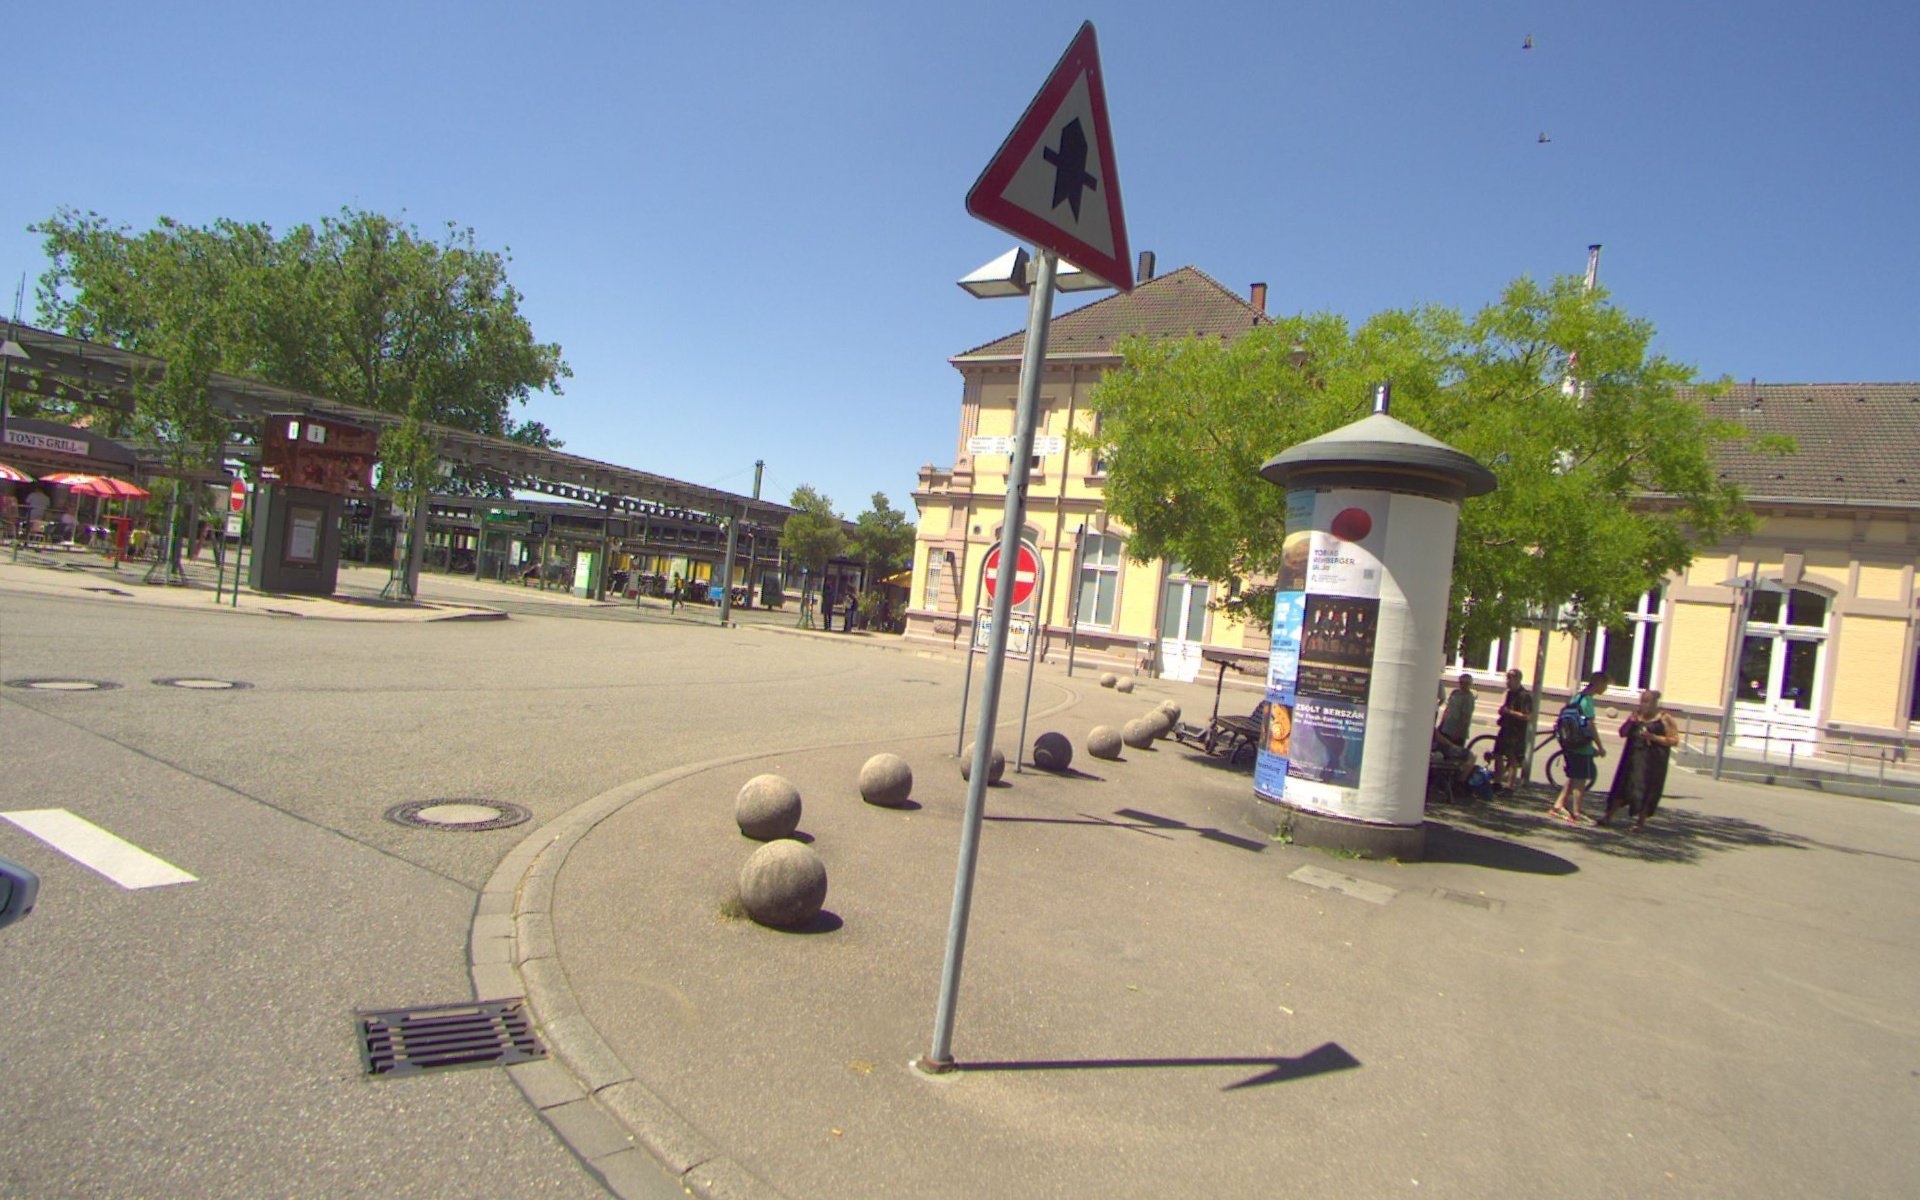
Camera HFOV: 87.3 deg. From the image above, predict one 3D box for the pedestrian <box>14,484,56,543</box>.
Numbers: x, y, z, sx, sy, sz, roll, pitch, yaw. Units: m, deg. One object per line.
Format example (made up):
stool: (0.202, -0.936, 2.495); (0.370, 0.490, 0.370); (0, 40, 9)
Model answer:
pedestrian: (-29.671, -2.765, 32.267); (0.695, 1.759, 0.687); (6, 0, 31)

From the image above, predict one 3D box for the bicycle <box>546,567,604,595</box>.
bicycle: (-19.531, -0.948, 51.086); (0.797, 1.015, 2.795); (6, -3, 28)

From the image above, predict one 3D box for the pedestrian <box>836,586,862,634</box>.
pedestrian: (-4.420, 0.395, 40.057); (0.626, 1.831, 0.590); (6, 1, -39)

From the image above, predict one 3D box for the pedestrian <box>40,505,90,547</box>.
pedestrian: (-27.987, -2.298, 31.479); (0.676, 1.175, 0.894); (7, 0, -4)

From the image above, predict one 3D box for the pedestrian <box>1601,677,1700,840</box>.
pedestrian: (8.056, 1.828, 11.761); (0.537, 1.761, 0.628); (7, 0, 5)

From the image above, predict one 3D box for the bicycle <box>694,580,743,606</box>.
bicycle: (-13.492, -0.378, 56.380); (0.950, 1.015, 2.795); (6, -3, 28)

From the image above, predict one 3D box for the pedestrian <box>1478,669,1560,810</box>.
pedestrian: (7.464, 1.847, 13.453); (0.588, 1.761, 0.585); (7, 0, 5)

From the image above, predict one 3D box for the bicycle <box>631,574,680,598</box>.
bicycle: (-17.983, -0.798, 59.475); (0.950, 1.015, 2.795); (6, -3, 28)

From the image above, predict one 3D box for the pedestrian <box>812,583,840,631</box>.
pedestrian: (-5.333, 0.279, 39.946); (0.684, 1.831, 0.625); (6, 1, -38)

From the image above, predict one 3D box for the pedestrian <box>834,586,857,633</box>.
pedestrian: (-4.639, 0.370, 40.887); (0.547, 1.831, 0.493); (6, 1, -39)

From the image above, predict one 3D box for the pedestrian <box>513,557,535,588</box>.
pedestrian: (-21.196, -1.319, 48.888); (0.665, 1.413, 0.625); (6, 1, 30)

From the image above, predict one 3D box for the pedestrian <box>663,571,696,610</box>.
pedestrian: (-12.389, -0.419, 44.382); (0.842, 1.610, 0.924); (7, 0, 30)

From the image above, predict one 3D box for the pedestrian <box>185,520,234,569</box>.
pedestrian: (-22.252, -1.638, 29.835); (0.881, 1.293, 0.846); (7, 0, 35)

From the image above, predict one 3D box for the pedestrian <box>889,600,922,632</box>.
pedestrian: (-2.483, 0.732, 45.470); (1.035, 1.371, 0.974); (5, 2, 33)

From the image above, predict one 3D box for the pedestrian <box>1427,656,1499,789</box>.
pedestrian: (7.072, 1.707, 14.159); (0.560, 1.761, 0.512); (7, 0, 1)

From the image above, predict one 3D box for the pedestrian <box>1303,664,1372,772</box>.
pedestrian: (5.225, 1.622, 13.952); (0.588, 1.381, 0.599); (7, 1, 2)

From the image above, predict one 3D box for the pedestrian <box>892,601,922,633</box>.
pedestrian: (-2.480, 0.776, 46.988); (1.038, 1.371, 0.971); (3, 2, -25)

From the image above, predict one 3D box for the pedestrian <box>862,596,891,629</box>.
pedestrian: (-3.688, 0.549, 44.663); (0.958, 1.371, 1.052); (4, 1, 10)

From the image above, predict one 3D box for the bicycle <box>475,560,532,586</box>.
bicycle: (-24.499, -1.438, 54.045); (0.797, 1.015, 2.795); (6, -3, 28)

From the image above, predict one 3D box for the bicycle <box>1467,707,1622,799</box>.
bicycle: (8.875, 2.304, 15.349); (1.915, 1.073, 0.421); (6, 0, 29)

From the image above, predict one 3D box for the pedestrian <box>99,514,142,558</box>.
pedestrian: (-24.597, -1.879, 29.483); (0.881, 1.175, 0.686); (7, 0, 35)

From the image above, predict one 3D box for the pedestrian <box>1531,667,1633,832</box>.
pedestrian: (7.265, 1.723, 11.786); (0.574, 1.785, 0.693); (7, 0, 3)

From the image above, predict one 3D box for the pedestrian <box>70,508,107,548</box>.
pedestrian: (-28.994, -2.393, 33.469); (0.582, 1.219, 0.657); (6, -2, 30)

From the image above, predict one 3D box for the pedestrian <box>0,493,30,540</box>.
pedestrian: (-28.789, -2.549, 30.266); (0.676, 1.328, 0.894); (7, 0, -4)

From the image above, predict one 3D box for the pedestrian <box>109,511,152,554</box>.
pedestrian: (-26.956, -2.189, 32.690); (0.725, 1.219, 0.761); (6, -2, 31)

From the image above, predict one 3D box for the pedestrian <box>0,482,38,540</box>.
pedestrian: (-30.959, -2.918, 33.036); (0.695, 1.759, 0.687); (7, 0, 31)

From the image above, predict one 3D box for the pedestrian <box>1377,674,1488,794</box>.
pedestrian: (6.365, 1.784, 13.603); (0.926, 1.403, 0.913); (7, 0, 1)

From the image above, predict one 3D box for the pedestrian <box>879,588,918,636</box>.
pedestrian: (-2.653, 0.525, 43.388); (1.064, 1.869, 1.082); (7, 0, 28)
